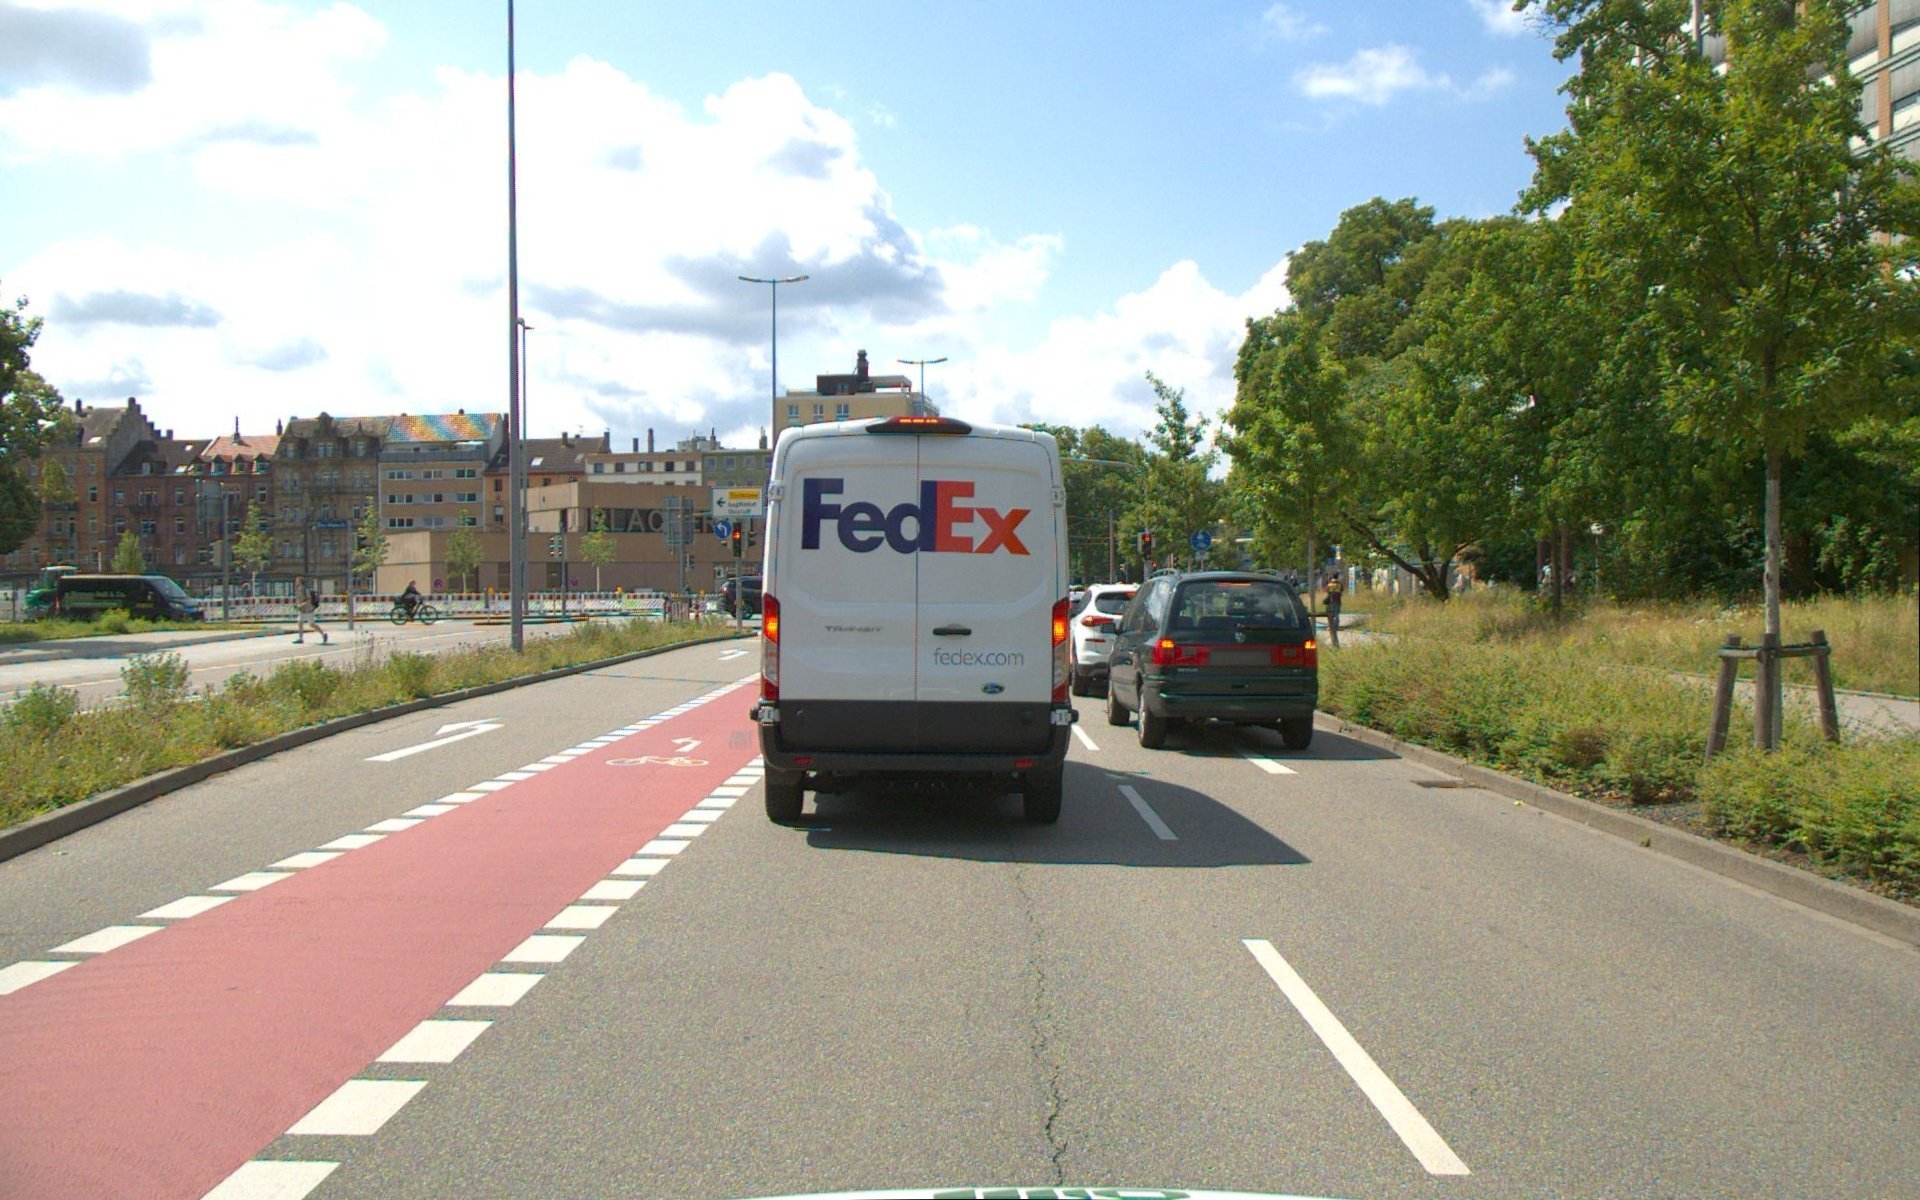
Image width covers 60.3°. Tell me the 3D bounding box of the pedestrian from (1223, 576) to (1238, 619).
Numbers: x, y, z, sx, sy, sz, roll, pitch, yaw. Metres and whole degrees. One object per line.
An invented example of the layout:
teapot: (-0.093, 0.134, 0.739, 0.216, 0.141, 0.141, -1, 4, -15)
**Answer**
pedestrian: (12.049, -0.124, 73.695, 0.562, 1.925, 0.679, 0, 0, -1)

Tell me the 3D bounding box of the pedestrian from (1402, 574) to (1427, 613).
pedestrian: (17.707, -0.266, 64.417, 0.880, 1.497, 0.486, 0, 0, 18)

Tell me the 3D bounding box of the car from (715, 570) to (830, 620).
car: (-7.981, -0.206, 70.420, 4.556, 2.049, 2.089, -1, 0, -18)

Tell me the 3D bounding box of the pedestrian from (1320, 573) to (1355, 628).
pedestrian: (10.925, 0.011, 47.870, 0.827, 1.565, 0.835, 0, 0, -1)

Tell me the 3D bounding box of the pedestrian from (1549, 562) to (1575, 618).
pedestrian: (23.022, -0.384, 63.263, 0.828, 2.094, 0.740, 0, 0, 27)

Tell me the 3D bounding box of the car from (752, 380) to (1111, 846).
car: (-0.386, 0.063, 12.507, 2.098, 2.699, 5.698, 0, 0, -5)

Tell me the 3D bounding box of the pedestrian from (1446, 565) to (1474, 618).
pedestrian: (19.752, -0.345, 65.370, 0.727, 2.094, 0.843, -1, 0, -17)

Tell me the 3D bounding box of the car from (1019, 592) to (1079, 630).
car: (4.477, 0.550, 82.583, 1.951, 1.825, 4.374, -1, 0, 17)

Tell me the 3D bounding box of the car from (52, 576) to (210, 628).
car: (-31.305, 0.055, 62.575, 4.910, 1.911, 1.927, -1, 1, -4)

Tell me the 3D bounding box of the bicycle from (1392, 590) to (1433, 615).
bicycle: (17.639, 0.084, 64.449, 1.537, 0.972, 0.486, 0, 0, 18)

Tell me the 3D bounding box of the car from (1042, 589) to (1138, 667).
car: (2.637, 0.527, 34.191, 1.760, 1.486, 3.839, 0, 1, 1)

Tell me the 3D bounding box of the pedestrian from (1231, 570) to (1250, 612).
pedestrian: (13.040, -0.420, 76.980, 0.667, 1.925, 0.572, 0, 1, 43)

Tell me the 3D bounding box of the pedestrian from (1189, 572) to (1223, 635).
pedestrian: (7.603, 0.112, 51.211, 0.931, 1.925, 0.773, 0, 0, -1)

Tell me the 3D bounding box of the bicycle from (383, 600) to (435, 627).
bicycle: (-22.008, 0.523, 66.125, 1.884, 1.048, 0.547, 0, 0, -8)

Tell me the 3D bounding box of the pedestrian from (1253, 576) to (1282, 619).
pedestrian: (10.169, -0.085, 54.727, 0.827, 1.413, 0.741, 0, 0, -1)

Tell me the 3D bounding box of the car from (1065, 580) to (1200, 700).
car: (2.621, 0.555, 25.908, 1.760, 1.717, 4.001, 0, 1, 1)

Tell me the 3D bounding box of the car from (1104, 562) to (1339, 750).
car: (2.664, 0.507, 17.832, 1.775, 1.764, 4.388, 0, 1, -1)

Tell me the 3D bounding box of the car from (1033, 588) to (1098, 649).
car: (2.612, 0.432, 41.469, 1.454, 1.453, 3.433, 0, 1, 1)

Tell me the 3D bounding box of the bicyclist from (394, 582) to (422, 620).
bicyclist: (-22.070, 0.022, 66.136, 0.950, 1.500, 0.550, -1, 0, -8)

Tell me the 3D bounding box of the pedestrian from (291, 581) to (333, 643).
pedestrian: (-17.064, 0.308, 43.540, 0.546, 1.587, 0.870, 0, 1, 43)
